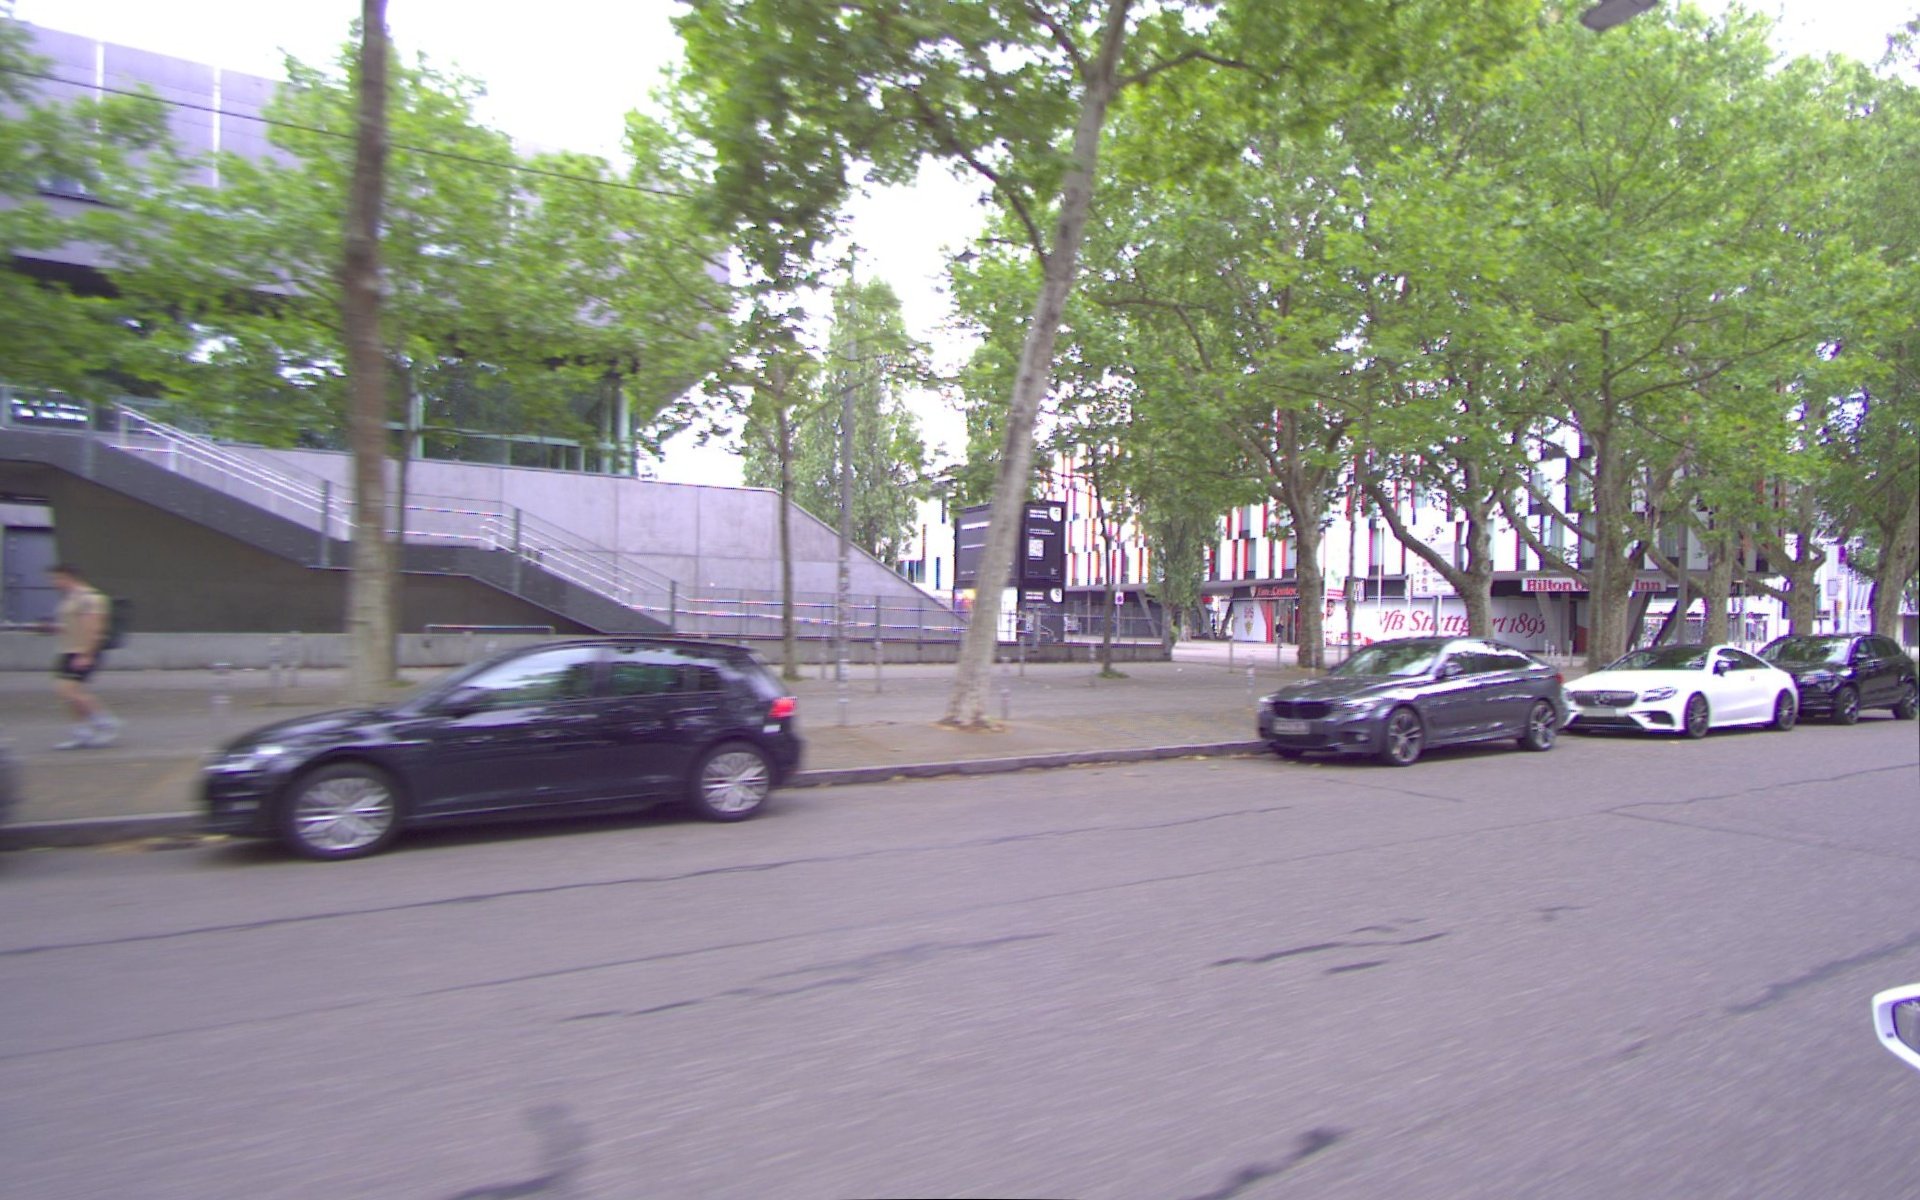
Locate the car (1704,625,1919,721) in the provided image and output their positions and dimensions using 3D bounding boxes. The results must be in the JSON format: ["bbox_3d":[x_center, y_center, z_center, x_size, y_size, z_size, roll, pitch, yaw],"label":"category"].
[{"bbox_3d":[16.054,1.331,18.714,4.290,1.614,1.811,2,-4,-28],"label":"car"}]

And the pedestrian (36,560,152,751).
[{"bbox_3d":[-8.793,0.549,10.225,0.819,1.864,0.503,1,-1,-36],"label":"pedestrian"}]

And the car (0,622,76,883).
[{"bbox_3d":[-7.391,0.880,5.491,3.615,1.497,1.684,2,-5,-35],"label":"car"}]

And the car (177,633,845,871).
[{"bbox_3d":[-3.201,1.008,7.793,4.280,1.399,1.700,1,-5,-30],"label":"car"}]

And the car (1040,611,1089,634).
[{"bbox_3d":[10.423,2.221,100.885,2.284,2.041,5.142,-4,2,-29],"label":"car"}]

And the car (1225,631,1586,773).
[{"bbox_3d":[5.769,1.174,12.788,4.939,1.504,1.809,2,-2,-33],"label":"car"}]

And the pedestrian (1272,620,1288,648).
[{"bbox_3d":[19.960,2.125,62.609,0.684,1.712,0.640,1,-1,-28],"label":"pedestrian"}]

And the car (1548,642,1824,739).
[{"bbox_3d":[11.853,1.371,16.306,4.947,1.380,1.807,1,-3,-31],"label":"car"}]
